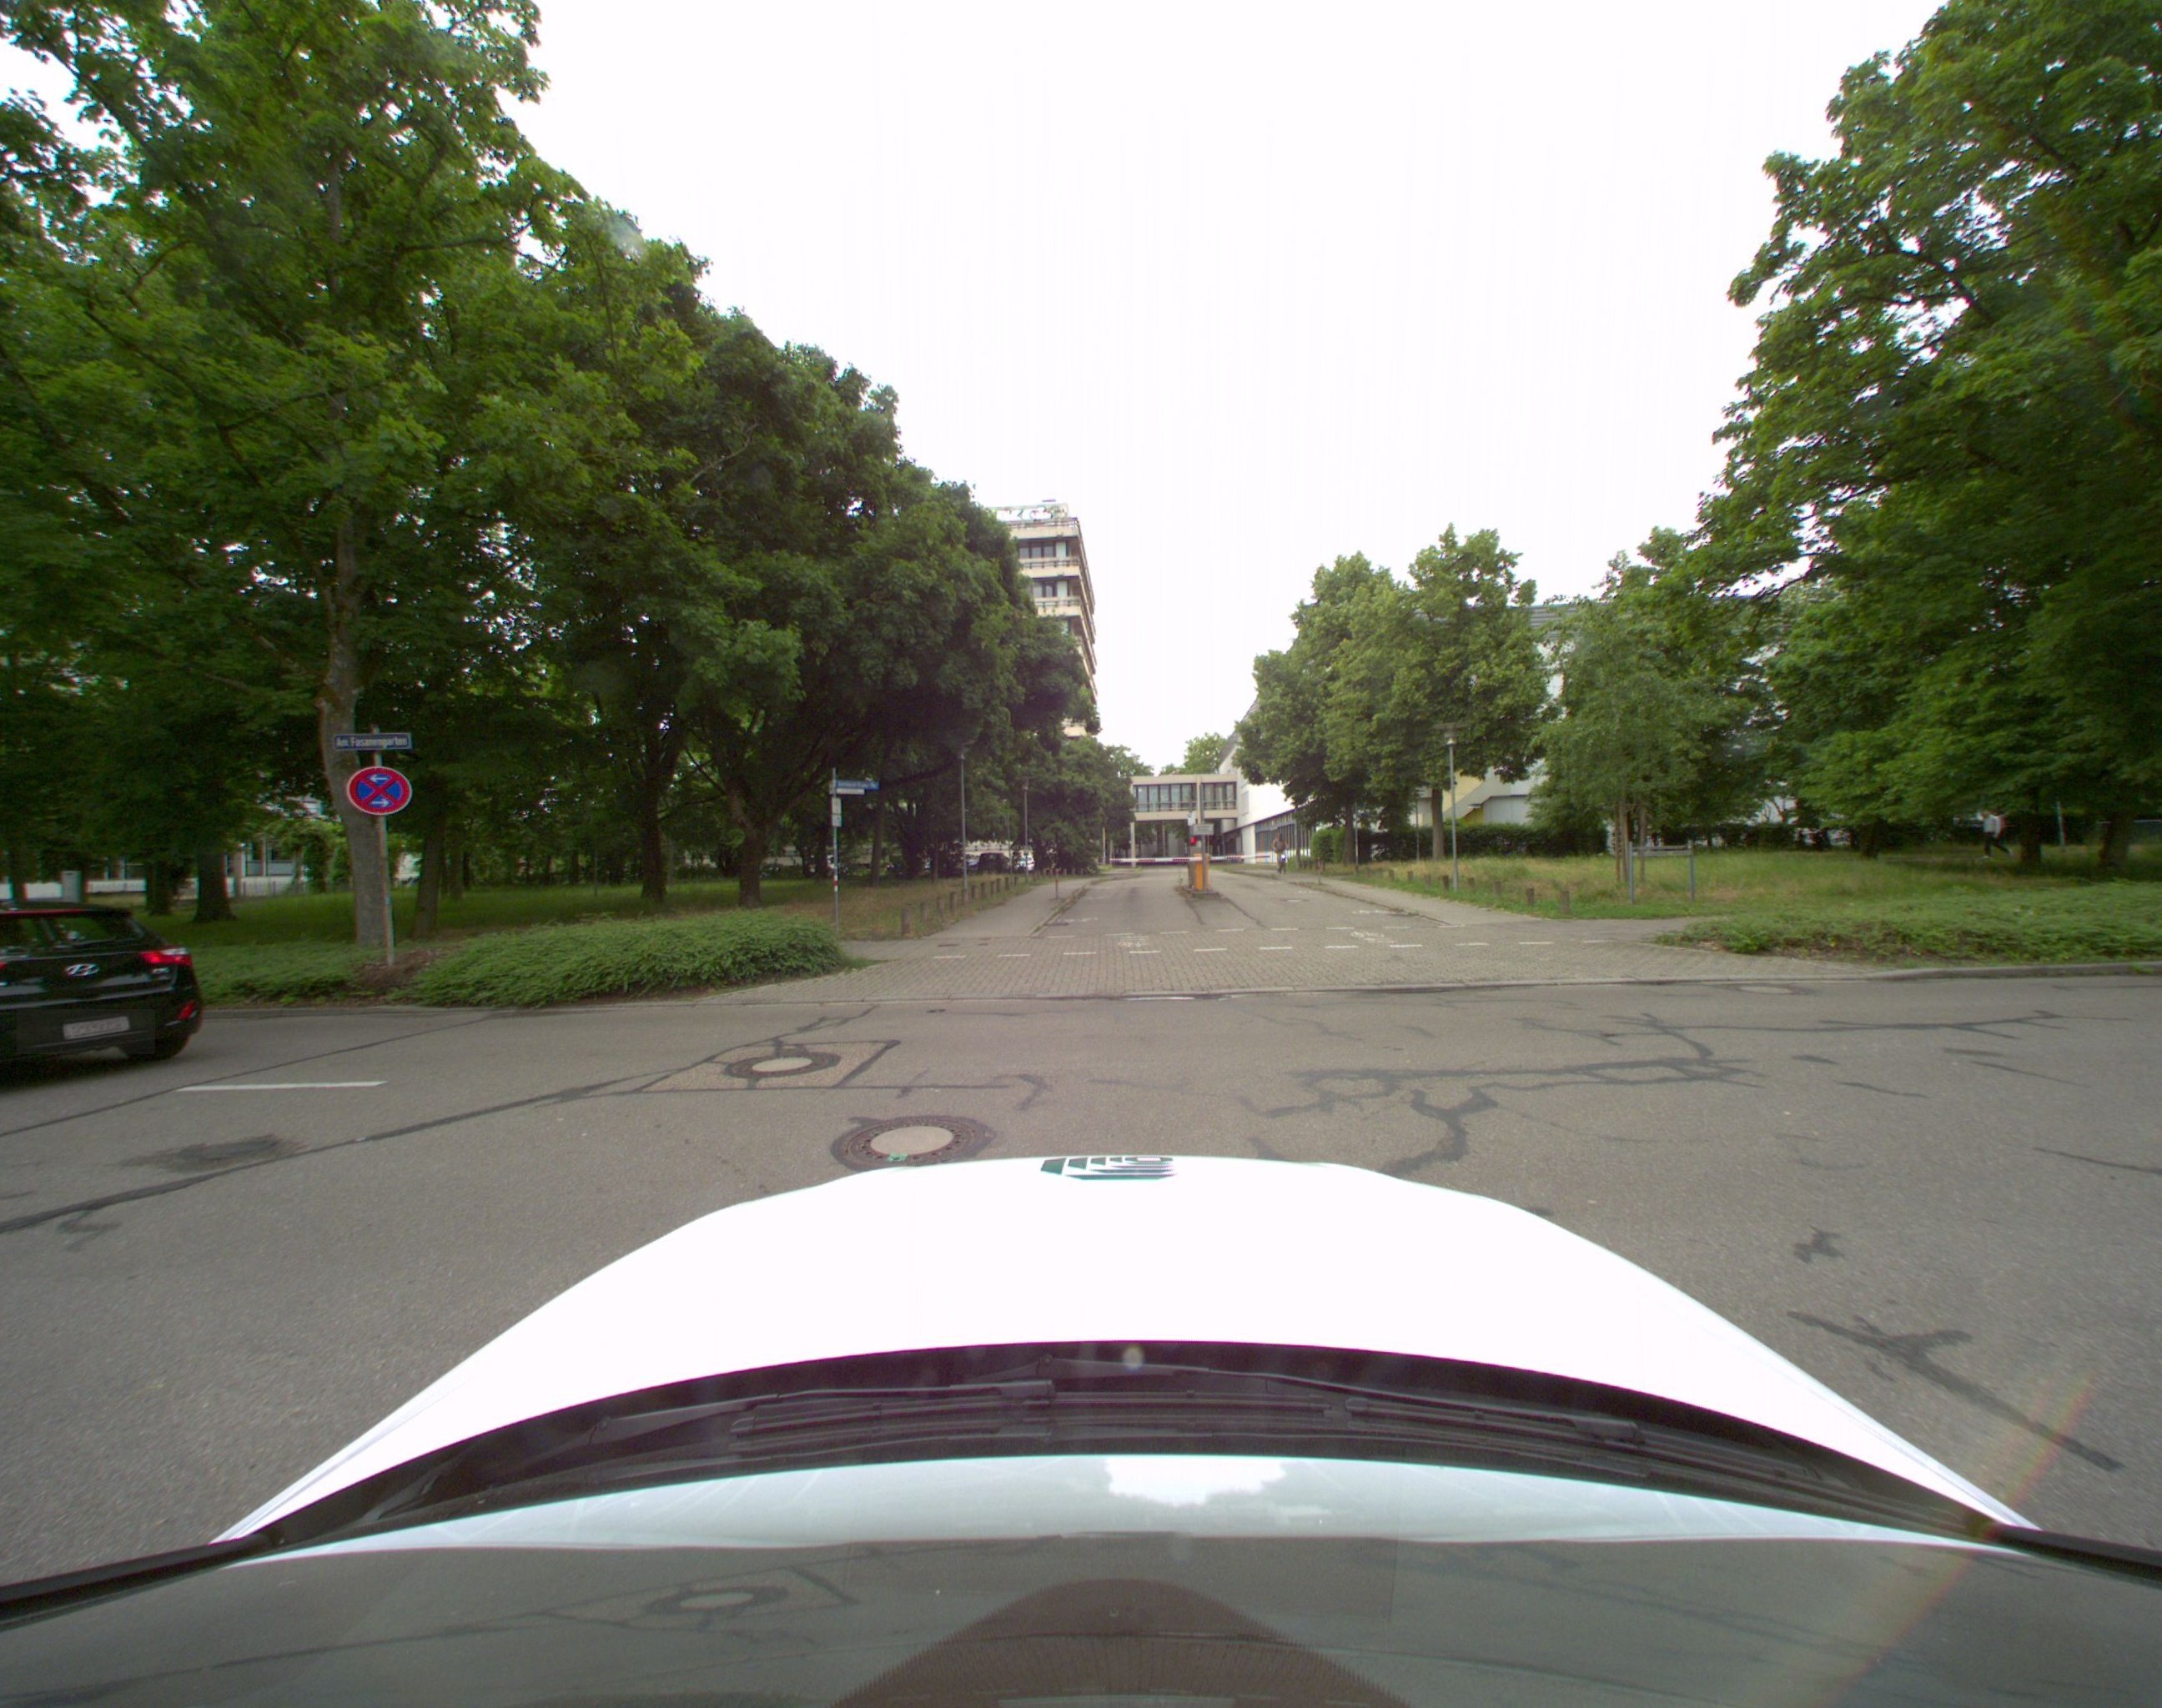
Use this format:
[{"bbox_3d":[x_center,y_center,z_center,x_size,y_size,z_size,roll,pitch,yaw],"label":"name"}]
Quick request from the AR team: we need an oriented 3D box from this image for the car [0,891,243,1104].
[{"bbox_3d":[-9.477,1.101,6.683,3.789,1.462,1.858,-2,-1,12],"label":"car"}]

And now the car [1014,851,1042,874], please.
[{"bbox_3d":[-4.228,0.713,65.485,1.988,1.762,3.998,-2,-1,-1],"label":"car"}]

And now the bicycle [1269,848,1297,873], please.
[{"bbox_3d":[9.272,0.281,37.454,0.863,1.074,2.144,-2,0,4],"label":"bicycle"}]

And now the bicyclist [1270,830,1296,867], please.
[{"bbox_3d":[9.257,-0.262,37.361,1.013,1.644,0.924,-2,0,4],"label":"bicyclist"}]

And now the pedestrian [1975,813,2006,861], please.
[{"bbox_3d":[34.962,-0.648,31.308,0.567,1.798,0.545,-2,0,13],"label":"pedestrian"}]

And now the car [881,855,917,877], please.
[{"bbox_3d":[-14.614,0.957,65.651,1.988,1.618,3.998,-2,0,-1],"label":"car"}]

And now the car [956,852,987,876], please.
[{"bbox_3d":[-8.803,0.820,65.638,1.988,1.794,3.998,-2,-2,-1],"label":"car"}]

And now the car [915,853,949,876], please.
[{"bbox_3d":[-11.911,0.890,65.455,1.988,1.728,3.998,-2,-2,-1],"label":"car"}]

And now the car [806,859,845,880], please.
[{"bbox_3d":[-20.751,1.206,66.304,1.912,1.618,3.998,-2,0,-1],"label":"car"}]
